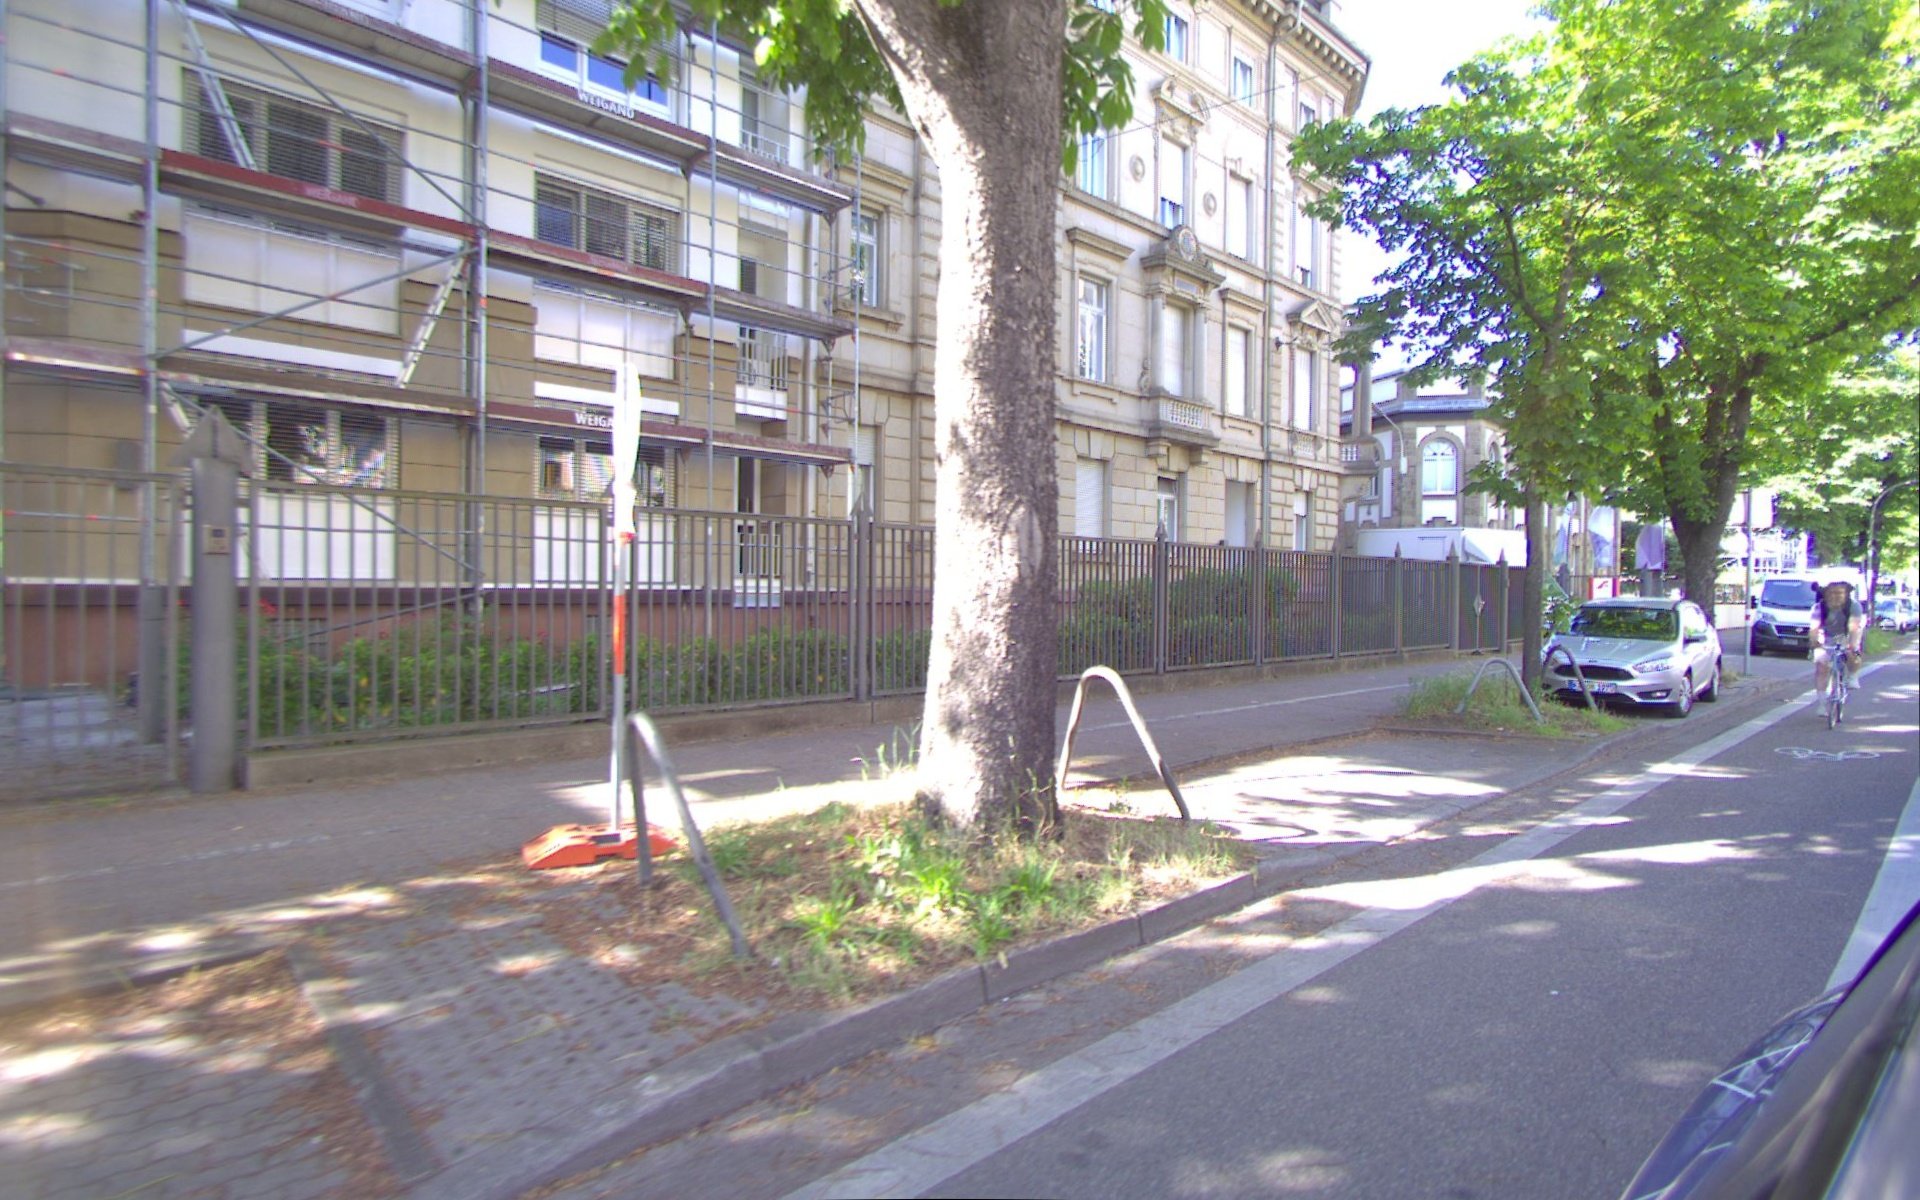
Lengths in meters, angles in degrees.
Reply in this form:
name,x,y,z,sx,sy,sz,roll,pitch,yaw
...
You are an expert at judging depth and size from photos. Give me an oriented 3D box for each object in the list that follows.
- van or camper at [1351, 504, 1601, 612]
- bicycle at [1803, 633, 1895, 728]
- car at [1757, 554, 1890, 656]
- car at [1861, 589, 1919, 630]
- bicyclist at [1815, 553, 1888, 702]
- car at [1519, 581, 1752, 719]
name,x,y,z,sx,sy,sz,roll,pitch,yaw
van or camper,14.097,-1.080,28.372,2.078,2.660,6.751,-1,1,-18
bicycle,10.483,0.907,11.909,2.021,0.933,0.534,-1,1,-41
car,22.850,0.032,26.688,5.712,2.371,2.128,-1,3,-45
car,39.053,0.356,42.262,4.036,1.569,1.862,-1,1,-45
bicyclist,10.531,0.306,11.952,0.863,1.691,0.532,-1,0,-41
car,9.586,0.553,14.216,4.295,1.562,1.874,-1,3,-45
